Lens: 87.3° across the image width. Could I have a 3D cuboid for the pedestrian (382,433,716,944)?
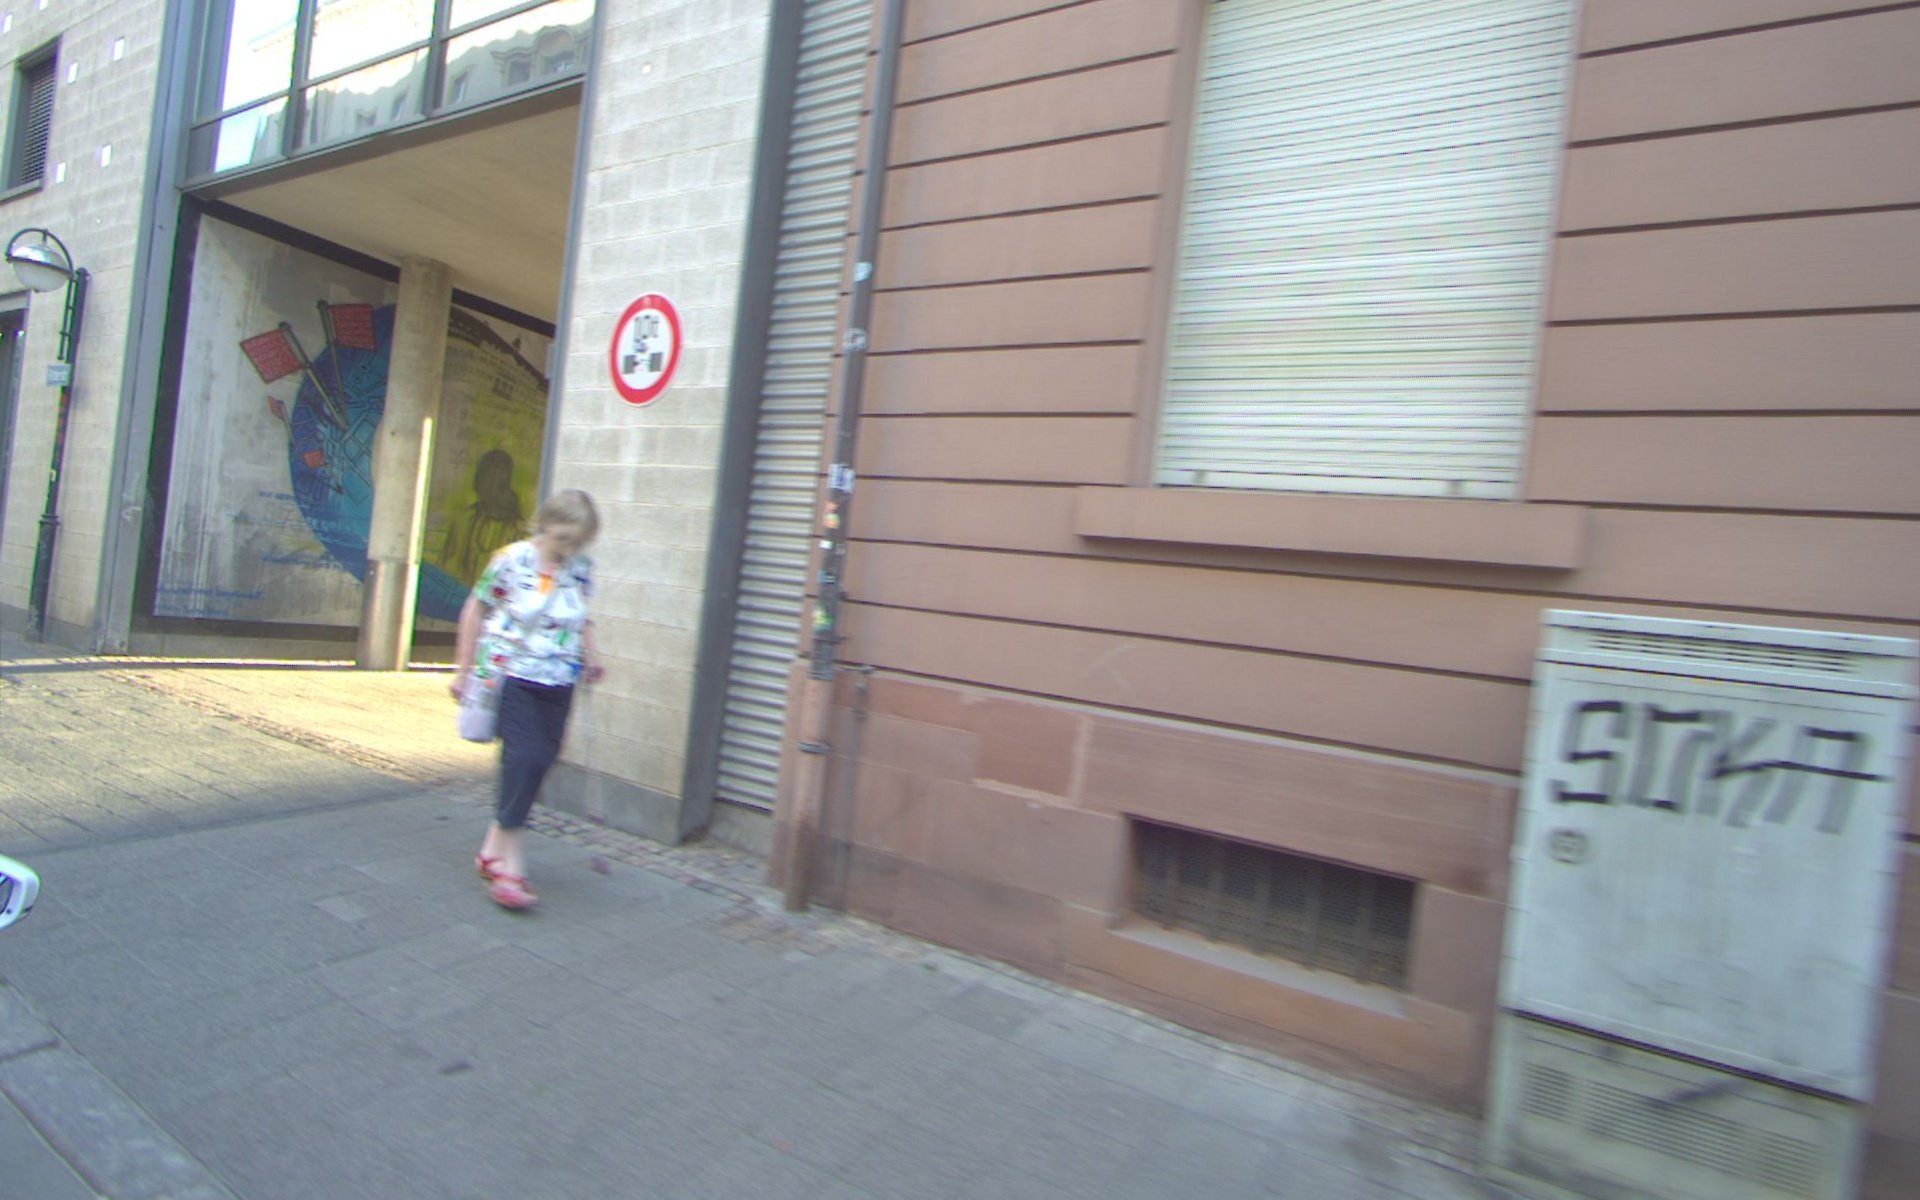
[{"bbox_3d":[-1.699,0.303,4.176,0.883,1.827,0.844,7,3,36],"label":"pedestrian"}]
